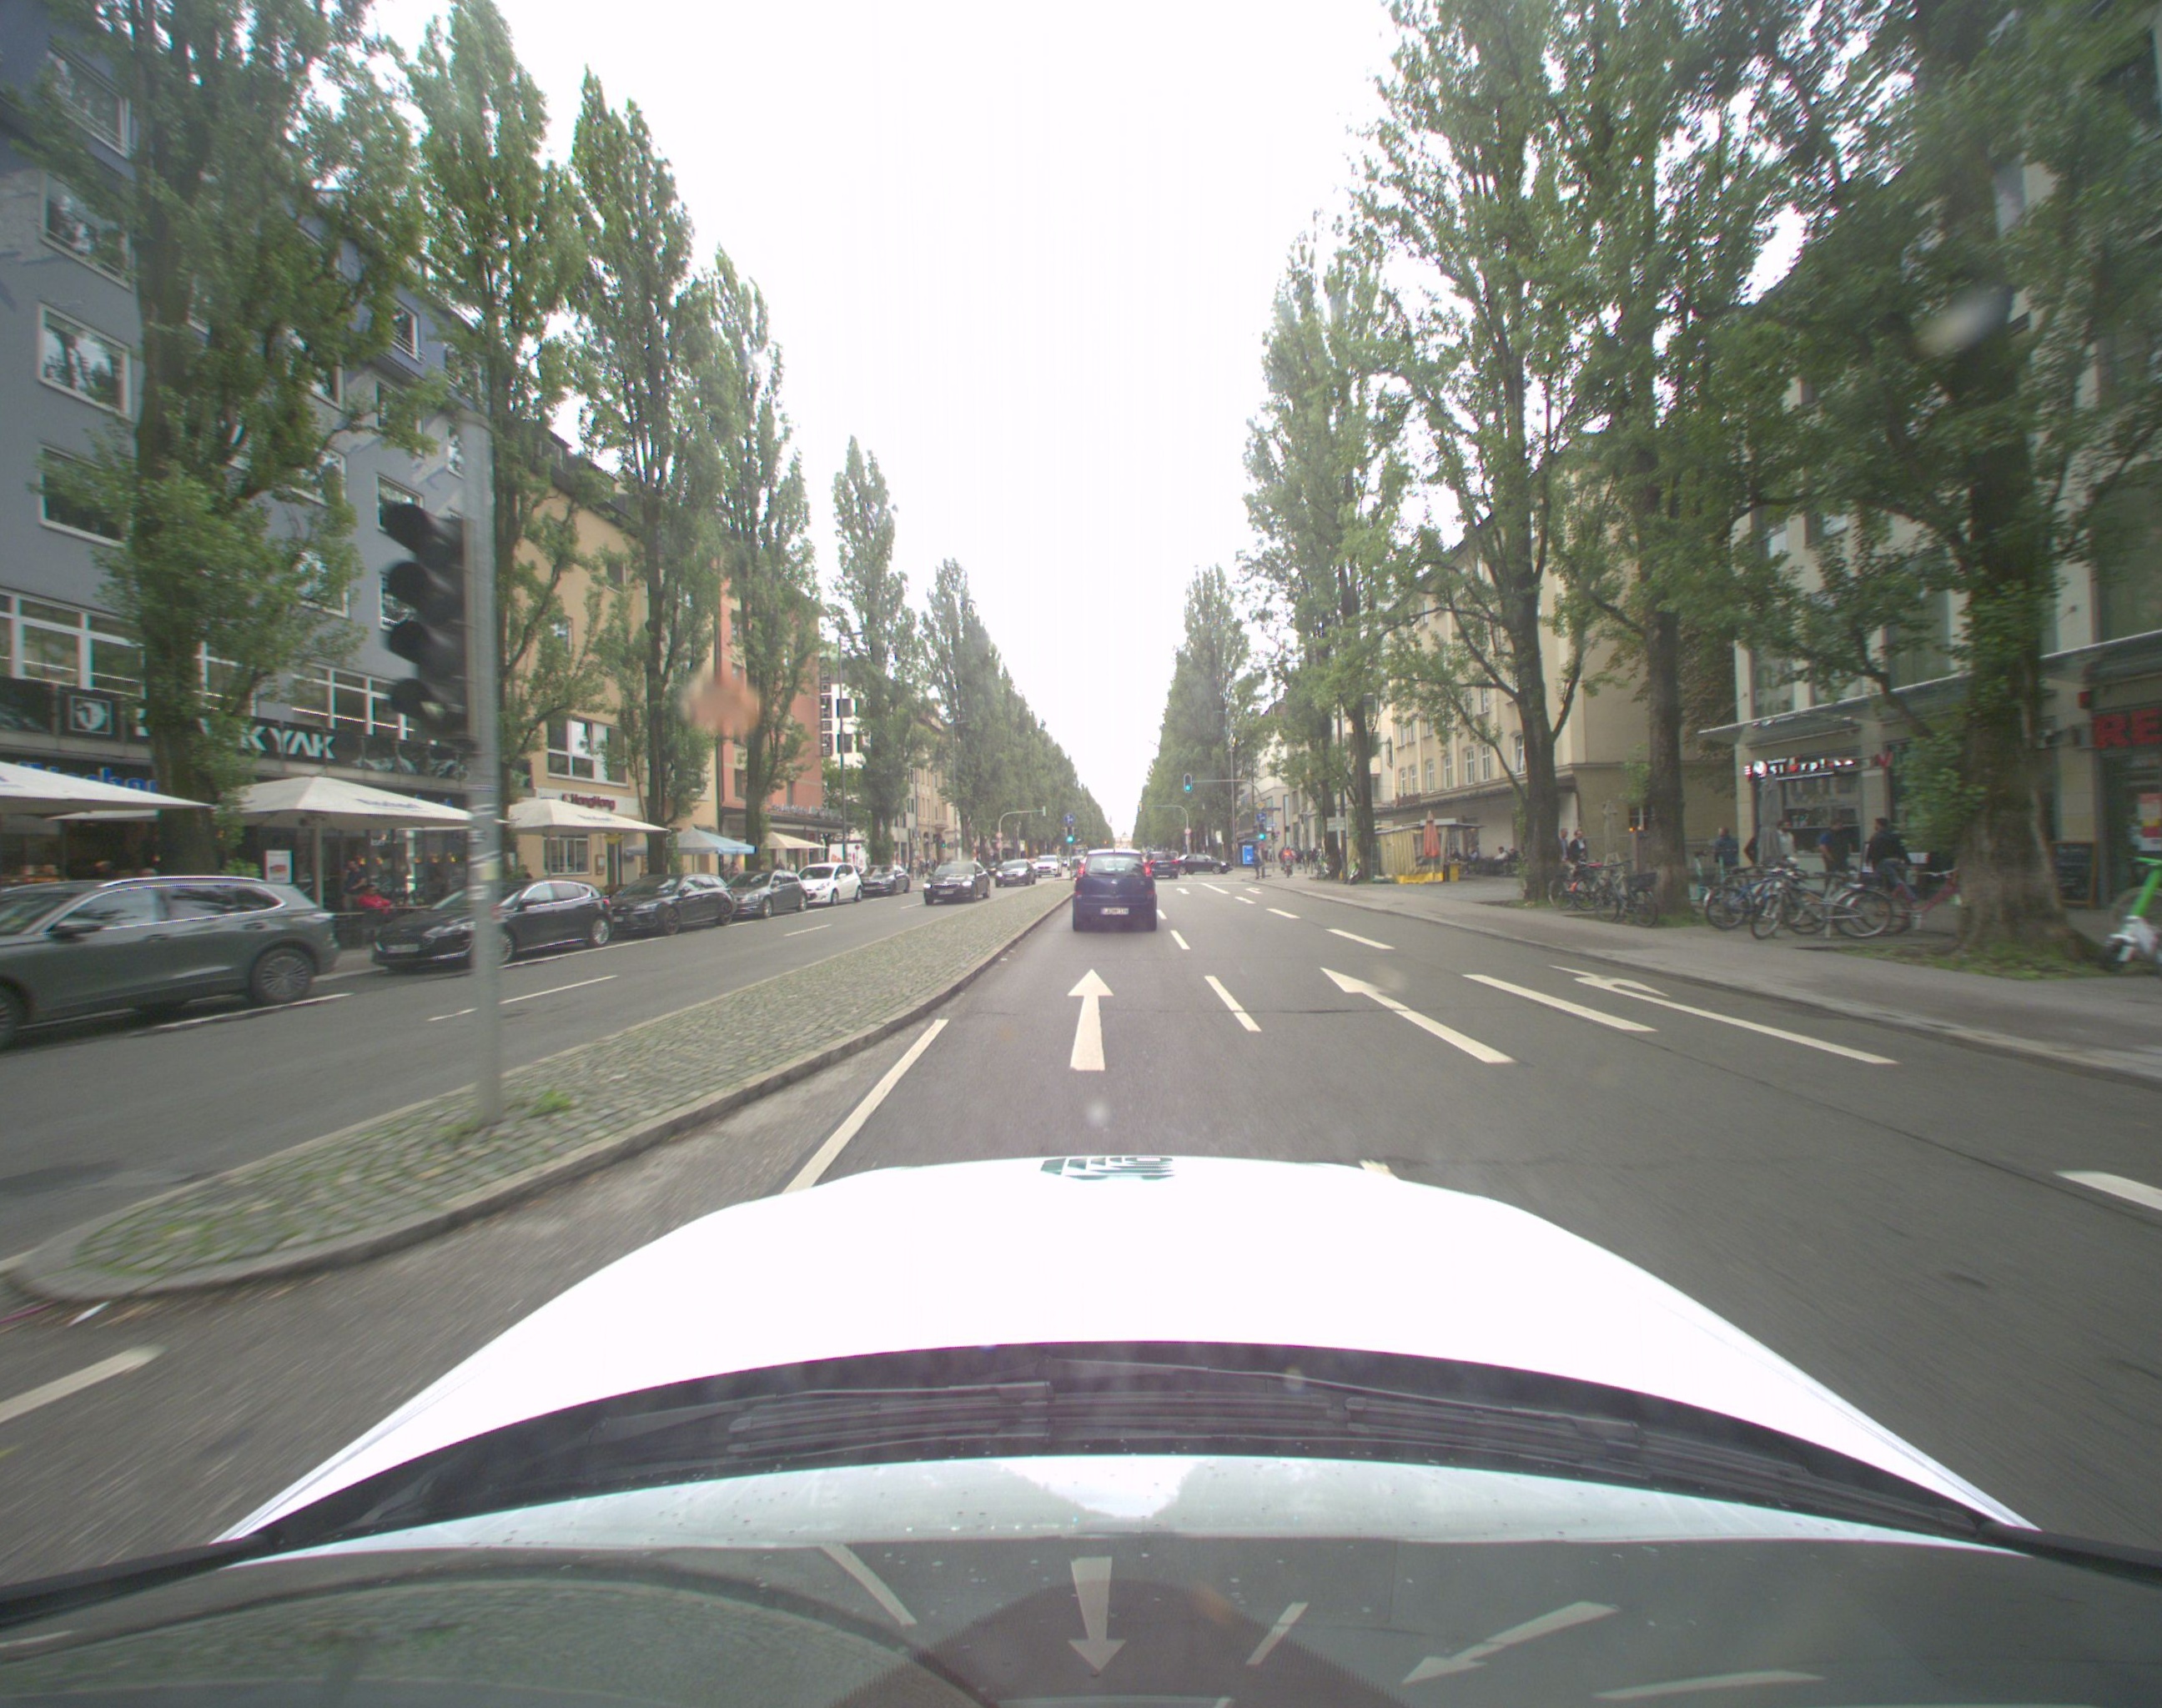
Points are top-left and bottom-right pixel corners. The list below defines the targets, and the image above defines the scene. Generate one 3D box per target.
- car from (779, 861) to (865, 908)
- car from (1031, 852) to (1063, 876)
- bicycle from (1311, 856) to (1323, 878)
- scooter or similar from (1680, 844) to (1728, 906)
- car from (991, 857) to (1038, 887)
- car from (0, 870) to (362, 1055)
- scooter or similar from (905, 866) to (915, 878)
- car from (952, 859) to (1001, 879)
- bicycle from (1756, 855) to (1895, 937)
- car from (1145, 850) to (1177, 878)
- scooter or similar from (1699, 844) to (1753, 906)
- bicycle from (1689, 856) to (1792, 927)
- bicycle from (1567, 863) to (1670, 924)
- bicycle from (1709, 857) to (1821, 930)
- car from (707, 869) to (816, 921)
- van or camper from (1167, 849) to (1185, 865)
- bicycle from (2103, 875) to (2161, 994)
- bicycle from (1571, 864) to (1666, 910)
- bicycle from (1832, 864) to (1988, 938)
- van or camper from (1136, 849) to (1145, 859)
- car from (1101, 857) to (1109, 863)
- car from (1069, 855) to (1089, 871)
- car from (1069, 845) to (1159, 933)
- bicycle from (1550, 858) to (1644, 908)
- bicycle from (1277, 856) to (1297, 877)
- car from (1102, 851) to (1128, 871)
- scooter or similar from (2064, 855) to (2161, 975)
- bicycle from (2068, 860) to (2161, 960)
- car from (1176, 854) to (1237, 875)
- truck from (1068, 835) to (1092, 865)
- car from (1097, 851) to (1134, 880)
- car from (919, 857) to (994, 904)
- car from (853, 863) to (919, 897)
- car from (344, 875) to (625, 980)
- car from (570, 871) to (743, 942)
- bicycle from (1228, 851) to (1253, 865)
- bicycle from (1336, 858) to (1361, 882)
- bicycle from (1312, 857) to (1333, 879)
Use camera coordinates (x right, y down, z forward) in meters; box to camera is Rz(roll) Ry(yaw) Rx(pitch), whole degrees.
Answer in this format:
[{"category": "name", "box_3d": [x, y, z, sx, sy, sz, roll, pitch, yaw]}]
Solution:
[{"category": "car", "box_3d": [-9.635, 1.095, 30.642, 1.696, 1.583, 4.099, -3, -1, 3]}, {"category": "car", "box_3d": [-2.494, 0.689, 60.906, 1.836, 1.636, 4.580, -3, 0, 4]}, {"category": "bicycle", "box_3d": [12.016, 0.646, 41.436, 0.401, 1.070, 1.820, 4, 1, 19]}, {"category": "scooter or similar", "box_3d": [13.323, 0.436, 17.438, 0.246, 1.273, 1.037, -2, 0, 3]}, {"category": "car", "box_3d": [-3.458, 0.910, 43.078, 1.828, 1.361, 4.180, -4, 0, 3]}, {"category": "car", "box_3d": [-10.904, 1.091, 8.883, 1.772, 1.680, 4.591, -3, -1, 4]}, {"category": "scooter or similar", "box_3d": [-14.854, 1.569, 70.675, 0.811, 1.093, 0.274, 0, -1, -1]}, {"category": "car", "box_3d": [-8.526, 1.183, 66.298, 3.699, 1.475, 1.763, -2, 0, -16]}, {"category": "bicycle", "box_3d": [11.024, 0.608, 12.060, 1.862, 1.135, 0.339, -2, 0, -6]}, {"category": "car", "box_3d": [4.873, 0.573, 49.934, 1.699, 1.574, 4.003, -2, 0, 2]}, {"category": "scooter or similar", "box_3d": [13.771, 0.435, 17.411, 0.329, 1.273, 1.037, -2, 0, 3]}, {"category": "bicycle", "box_3d": [11.112, 0.619, 13.719, 1.673, 1.117, 0.285, -2, 0, -10]}, {"category": "bicycle", "box_3d": [10.255, 0.721, 15.618, 0.433, 1.061, 2.000, -2, 0, -7]}, {"category": "bicycle", "box_3d": [11.192, 0.633, 13.337, 1.660, 1.107, 0.395, -2, 0, -9]}, {"category": "car", "box_3d": [-9.812, 1.203, 25.378, 1.487, 1.381, 4.190, -3, -1, 3]}, {"category": "van or camper", "box_3d": [12.037, 0.397, 103.285, 1.861, 1.883, 4.906, -1, 0, 3]}, {"category": "bicycle", "box_3d": [10.312, 0.676, 7.141, 1.827, 1.009, 0.394, -3, 0, 12]}, {"category": "bicycle", "box_3d": [11.626, 0.710, 17.620, 1.995, 0.945, 0.285, -1, 0, -6]}, {"category": "bicycle", "box_3d": [11.895, 0.662, 11.688, 1.995, 0.987, 0.392, -1, -1, -6]}, {"category": "van or camper", "box_3d": [17.553, -0.011, 239.938, 2.466, 2.581, 5.849, -2, 0, 3]}, {"category": "car", "box_3d": [6.757, 1.720, 226.312, 1.927, 1.623, 4.339, -3, 0, 3]}, {"category": "car", "box_3d": [-0.148, 0.956, 88.492, 1.836, 1.501, 4.990, -2, 0, 3]}, {"category": "car", "box_3d": [0.703, 0.658, 17.438, 1.674, 1.641, 4.002, -1, 0, 2]}, {"category": "bicycle", "box_3d": [11.392, 0.637, 17.996, 1.995, 1.083, 0.285, 0, -1, -6]}, {"category": "bicycle", "box_3d": [11.649, 0.696, 46.043, 0.624, 1.087, 2.265, -2, 0, 2]}, {"category": "car", "box_3d": [2.736, 0.548, 65.609, 1.986, 1.497, 4.002, -1, 0, 2]}, {"category": "scooter or similar", "box_3d": [10.751, 0.596, 8.045, 1.228, 1.169, 0.406, -2, -2, 32]}, {"category": "bicycle", "box_3d": [12.028, 0.622, 8.818, 0.389, 1.063, 2.009, -3, 0, 7]}, {"category": "car", "box_3d": [9.102, 0.733, 59.118, 3.949, 1.461, 1.770, -1, 0, 28]}, {"category": "truck", "box_3d": [-0.072, -0.488, 106.254, 2.453, 3.670, 8.446, -2, 0, 3]}, {"category": "car", "box_3d": [1.943, 0.612, 45.834, 1.986, 1.497, 4.002, -1, 0, 2]}, {"category": "car", "box_3d": [-4.341, 0.899, 29.016, 1.749, 1.465, 4.053, -3, -1, 3]}, {"category": "car", "box_3d": [-9.075, 1.170, 38.291, 1.696, 1.438, 4.593, -3, -1, 3]}, {"category": "car", "box_3d": [-10.484, 1.195, 14.813, 1.670, 1.466, 4.373, -3, -1, 3]}, {"category": "car", "box_3d": [-10.242, 1.193, 20.101, 1.696, 1.412, 4.437, -3, -1, 3]}, {"category": "bicycle", "box_3d": [15.324, 0.376, 78.232, 2.334, 1.252, 0.633, -2, 0, 2]}, {"category": "bicycle", "box_3d": [11.412, 0.684, 34.751, 0.506, 0.975, 1.771, -1, 0, 1]}, {"category": "bicycle", "box_3d": [11.676, 0.674, 39.422, 0.506, 1.048, 1.771, -1, 0, 1]}]
